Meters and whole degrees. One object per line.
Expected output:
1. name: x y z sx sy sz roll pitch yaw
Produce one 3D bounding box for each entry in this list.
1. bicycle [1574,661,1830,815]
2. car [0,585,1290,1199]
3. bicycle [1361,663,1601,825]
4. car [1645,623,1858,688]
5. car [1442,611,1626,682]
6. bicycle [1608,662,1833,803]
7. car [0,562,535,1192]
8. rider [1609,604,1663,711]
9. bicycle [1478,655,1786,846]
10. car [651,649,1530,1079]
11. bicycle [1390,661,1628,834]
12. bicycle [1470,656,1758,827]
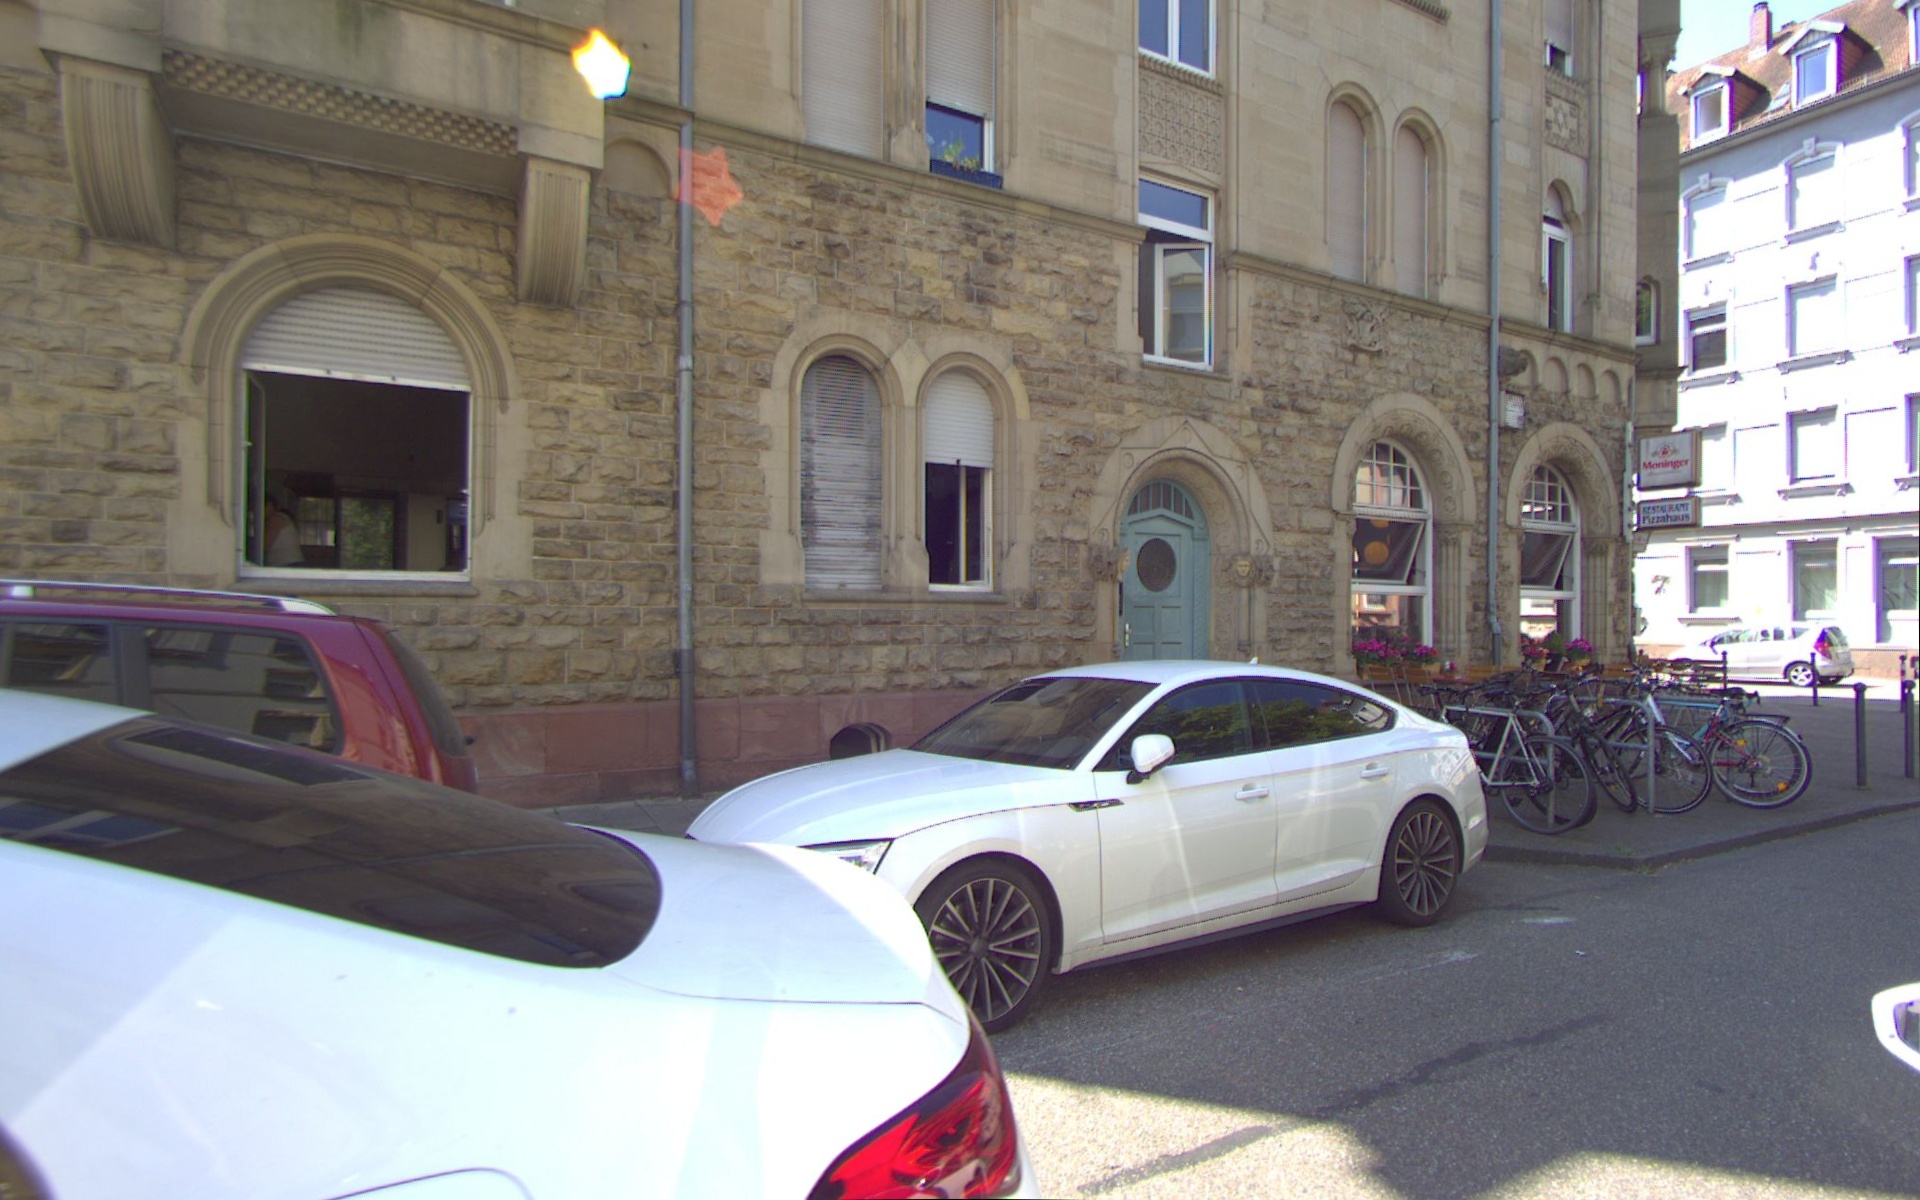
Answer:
1. bicycle: 6.226 1.107 8.530 0.409 1.059 1.695 1 1 -32
2. car: -1.948 0.765 0.816 4.310 1.479 1.834 1 -4 -30
3. bicycle: 3.953 1.056 7.775 0.289 1.114 1.693 1 -4 -32
4. car: 20.713 1.421 26.467 1.786 1.582 4.028 1 -2 -30
5. car: 17.750 1.408 31.339 1.854 2.024 4.685 -1 -1 -29
6. bicycle: 6.591 1.106 8.781 0.363 1.021 1.516 1 1 -32
7. car: -3.509 0.738 2.920 4.006 1.603 1.664 1 -4 -31
8. rider: 11.126 0.941 16.543 0.530 1.719 0.642 0 -2 16
9. bicycle: 5.102 1.083 7.799 0.391 1.145 1.960 1 1 -32
10. car: 0.868 0.970 5.212 4.465 1.370 1.693 1 -4 -32
11. bicycle: 4.244 1.093 7.905 0.289 1.115 1.693 1 0 -32
12. bicycle: 5.300 1.090 8.302 0.431 1.144 1.984 1 0 -32
